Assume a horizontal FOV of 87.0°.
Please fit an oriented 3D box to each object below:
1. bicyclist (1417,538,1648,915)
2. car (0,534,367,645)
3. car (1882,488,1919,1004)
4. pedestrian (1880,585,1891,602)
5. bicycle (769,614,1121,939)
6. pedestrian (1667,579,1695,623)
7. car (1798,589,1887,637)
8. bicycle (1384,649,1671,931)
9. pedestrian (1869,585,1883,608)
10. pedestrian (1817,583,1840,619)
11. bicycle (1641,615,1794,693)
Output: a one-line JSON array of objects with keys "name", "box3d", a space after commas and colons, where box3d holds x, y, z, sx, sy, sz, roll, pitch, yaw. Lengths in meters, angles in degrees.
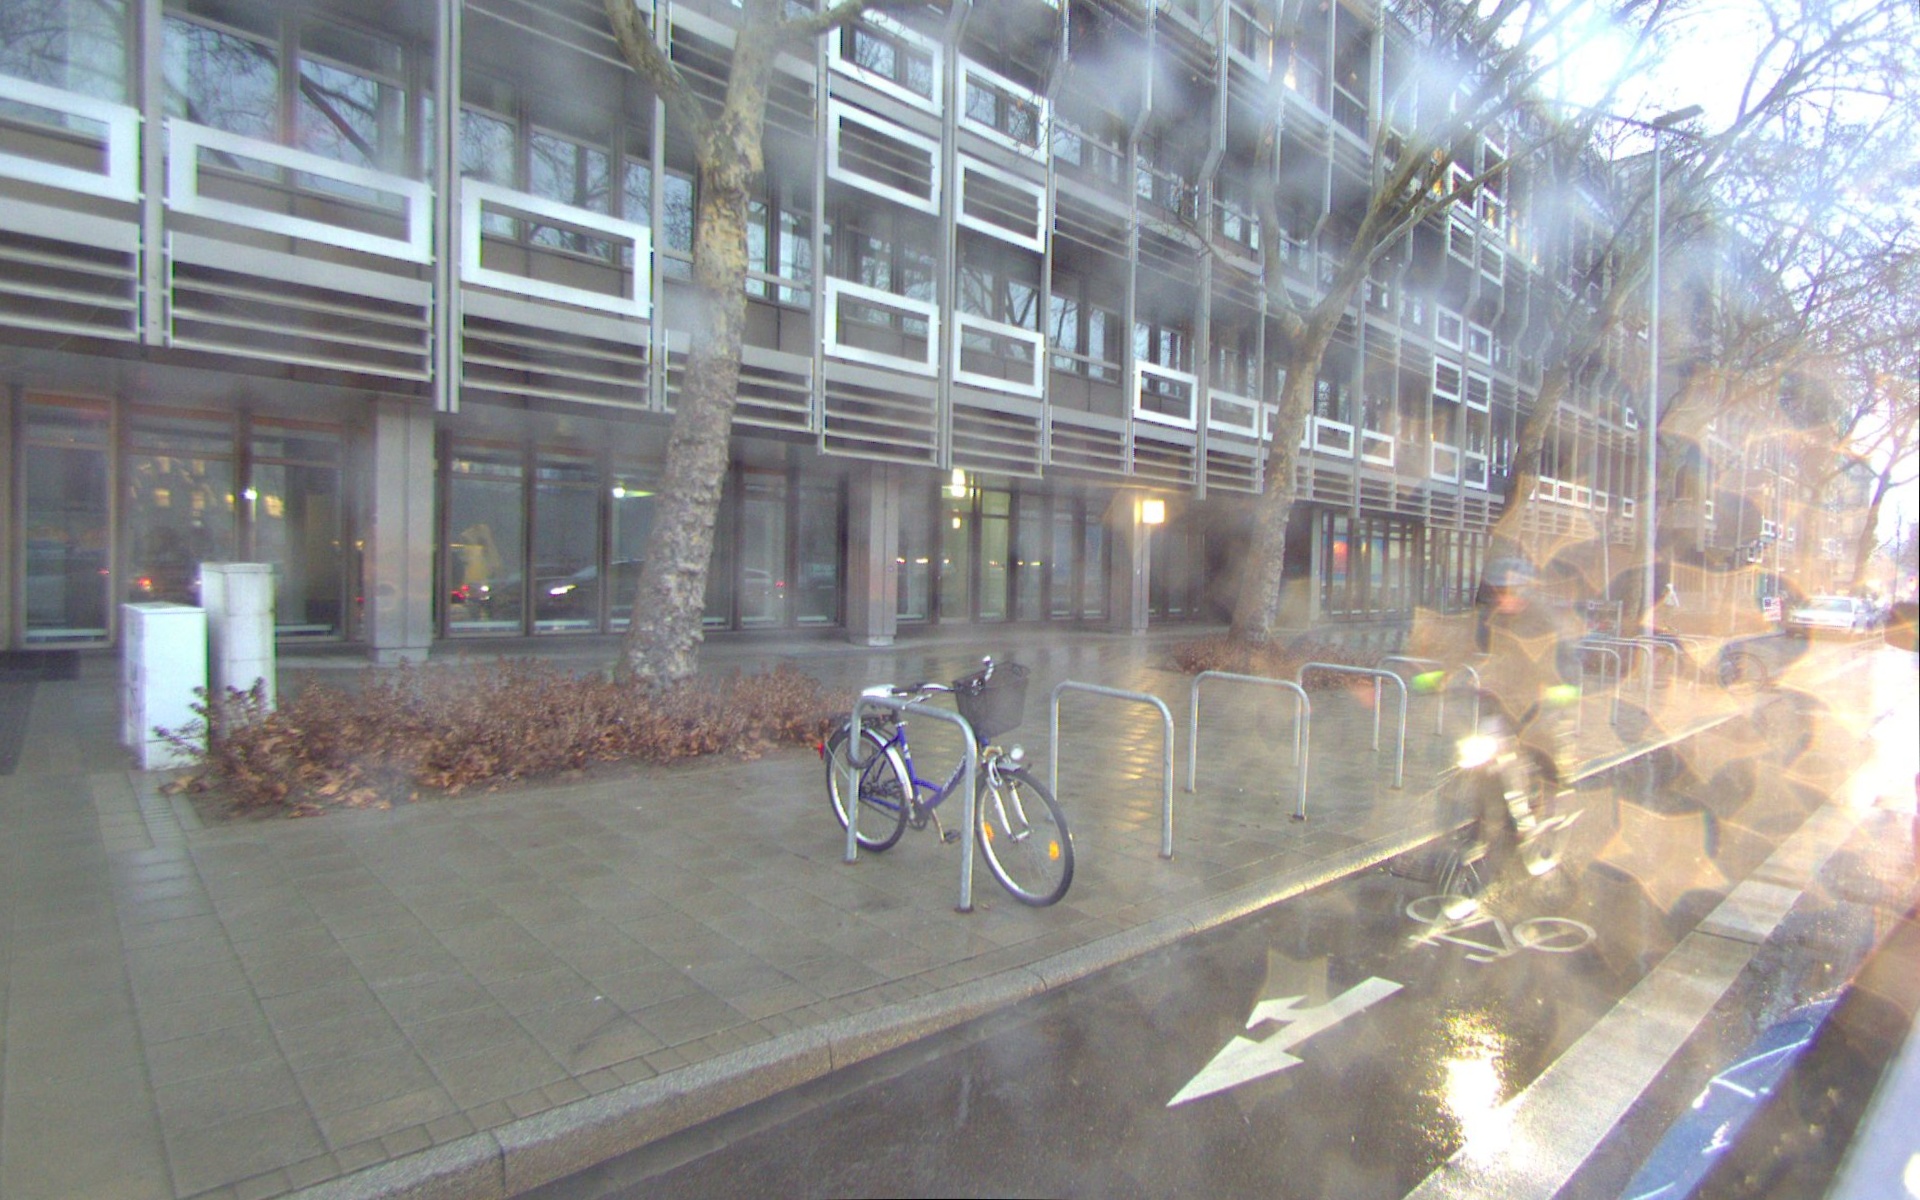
[{"name": "bicyclist", "box3d": [2.878, 0.556, 5.080, 0.947, 1.681, 0.704, 1, 1, -41]}, {"name": "car", "box3d": [-10.683, -0.185, 14.092, 3.929, 1.326, 1.998, 0, 3, -40]}, {"name": "car", "box3d": [5.464, 0.510, 4.392, 3.933, 1.864, 1.875, -1, 0, -43]}, {"name": "pedestrian", "box3d": [95.780, -0.669, 104.684, 0.765, 1.771, 0.913, 2, 2, 45]}, {"name": "bicycle", "box3d": [-0.156, 0.712, 4.861, 0.629, 1.145, 1.810, 2, 2, -41]}, {"name": "pedestrian", "box3d": [29.619, 0.027, 41.591, 0.765, 1.771, 0.913, 2, 2, 45]}, {"name": "car", "box3d": [29.462, 0.381, 33.768, 3.930, 1.482, 1.711, -1, 1, -41]}, {"name": "bicycle", "box3d": [2.922, 0.847, 5.133, 1.752, 1.108, 0.709, 1, 0, -41]}, {"name": "pedestrian", "box3d": [72.397, -0.278, 79.985, 0.765, 1.771, 0.913, 2, 2, 45]}, {"name": "pedestrian", "box3d": [43.317, 0.031, 50.468, 0.765, 1.771, 0.913, 2, 2, 45]}, {"name": "bicycle", "box3d": [11.664, 0.797, 15.626, 0.864, 1.004, 1.704, 0, 4, -41]}]
